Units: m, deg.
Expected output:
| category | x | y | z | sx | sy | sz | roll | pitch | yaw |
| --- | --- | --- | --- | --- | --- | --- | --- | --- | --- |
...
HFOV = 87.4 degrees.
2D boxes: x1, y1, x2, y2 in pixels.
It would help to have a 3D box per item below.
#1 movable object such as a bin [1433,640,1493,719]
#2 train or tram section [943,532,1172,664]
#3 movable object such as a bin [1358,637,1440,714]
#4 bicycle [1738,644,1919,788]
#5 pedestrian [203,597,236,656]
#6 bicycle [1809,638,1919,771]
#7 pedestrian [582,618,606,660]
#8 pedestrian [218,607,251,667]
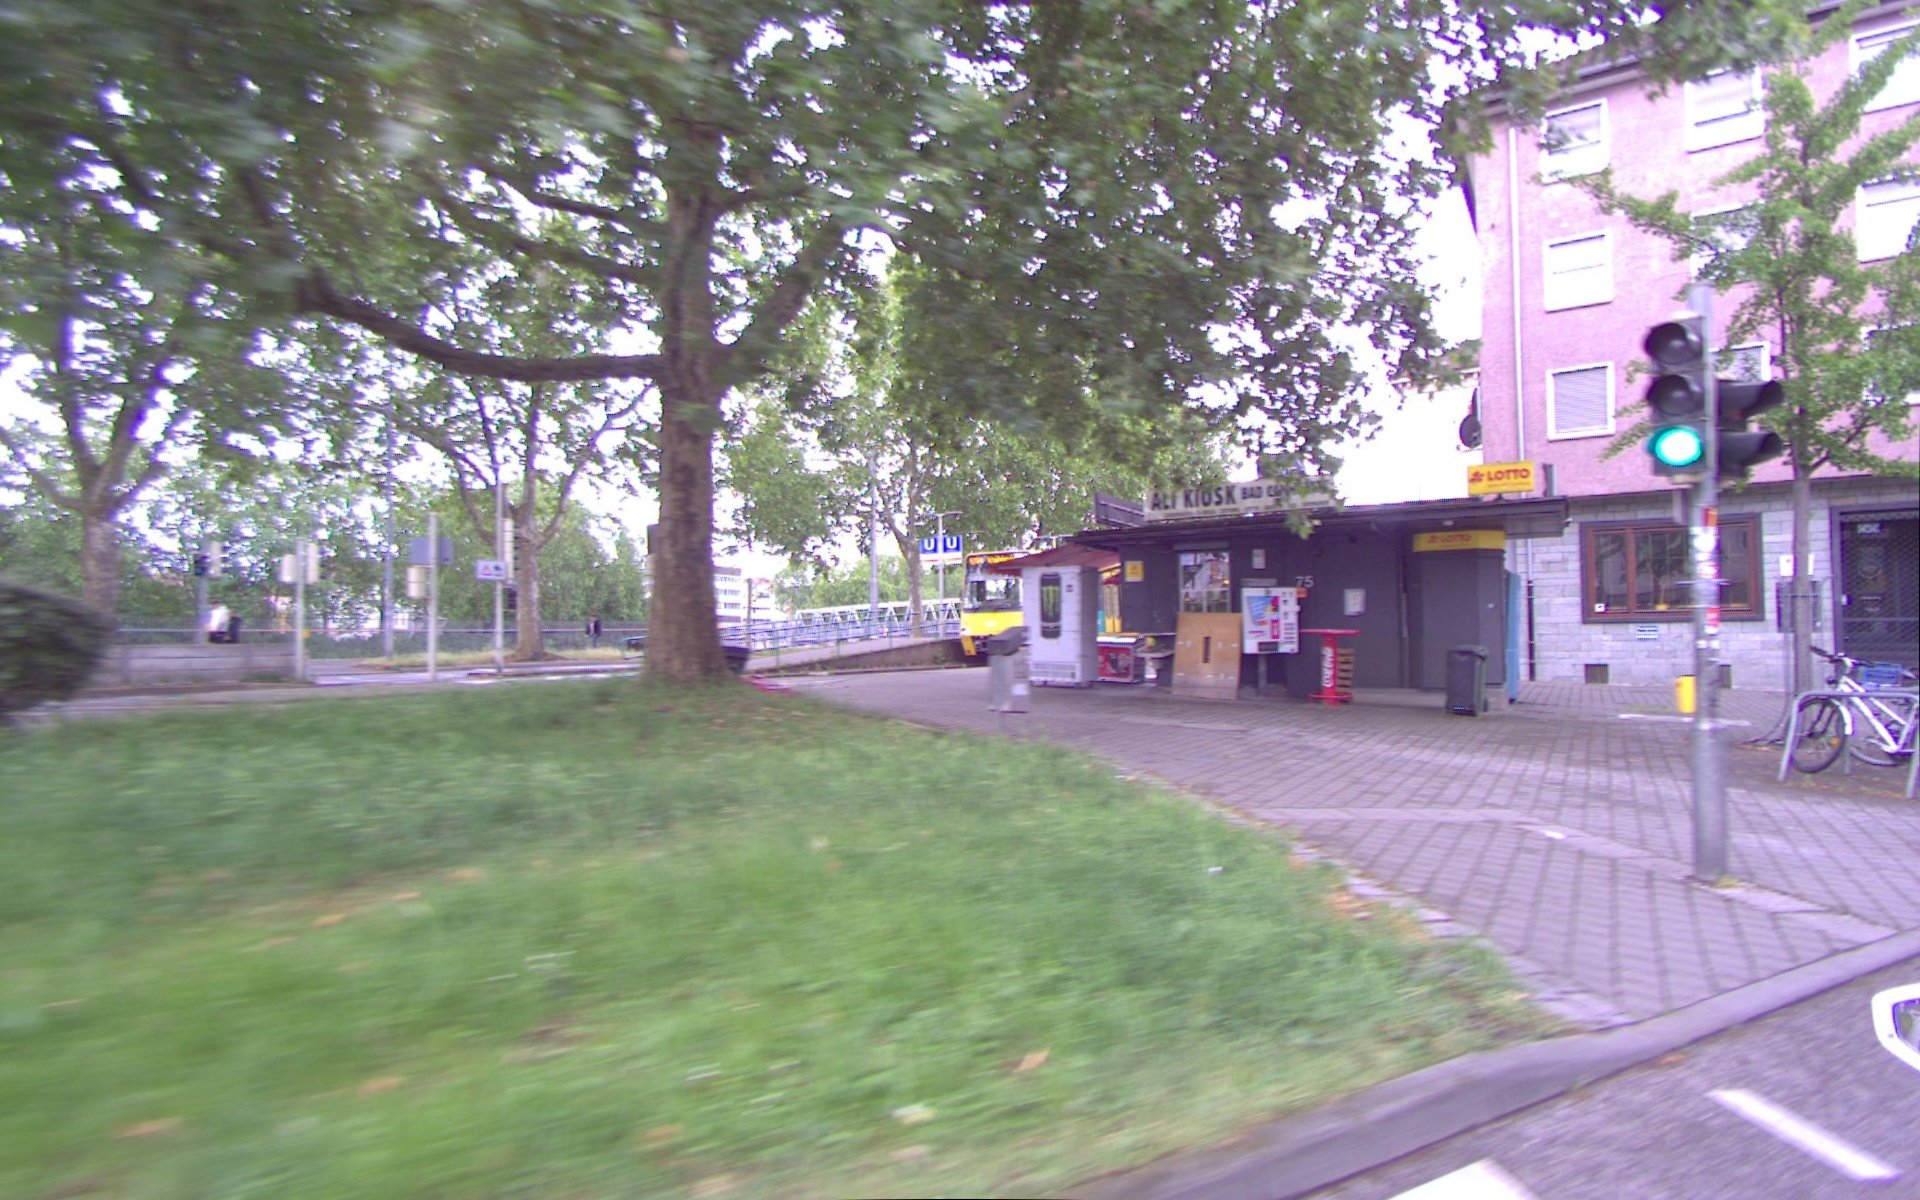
| category | x | y | z | sx | sy | sz | roll | pitch | yaw |
| --- | --- | --- | --- | --- | --- | --- | --- | --- | --- |
| movable object such as a bin | 7.134 | 1.103 | 14.229 | 0.661 | 0.978 | 1.077 | 3 | 2 | 30 |
| train or tram section | 3.726 | 0.119 | 33.894 | 2.875 | 3.720 | 10.979 | 3 | -1 | 33 |
| movable object such as a bin | 6.469 | 1.083 | 14.789 | 0.951 | 0.978 | 1.110 | 3 | 2 | 31 |
| bicycle | 8.078 | 0.997 | 8.889 | 0.569 | 1.128 | 1.867 | 1 | 0 | -19 |
| pedestrian | -21.130 | 0.757 | 28.660 | 0.493 | 1.644 | 0.533 | 3 | 0 | 31 |
| bicycle | 9.170 | 0.987 | 9.383 | 0.719 | 1.192 | 1.786 | 1 | 0 | -40 |
| pedestrian | -14.478 | 1.536 | 39.741 | 0.653 | 1.644 | 0.535 | 3 | 0 | 10 |
| pedestrian | -20.412 | 1.038 | 28.256 | 0.493 | 1.644 | 0.533 | 3 | 0 | 31 |
